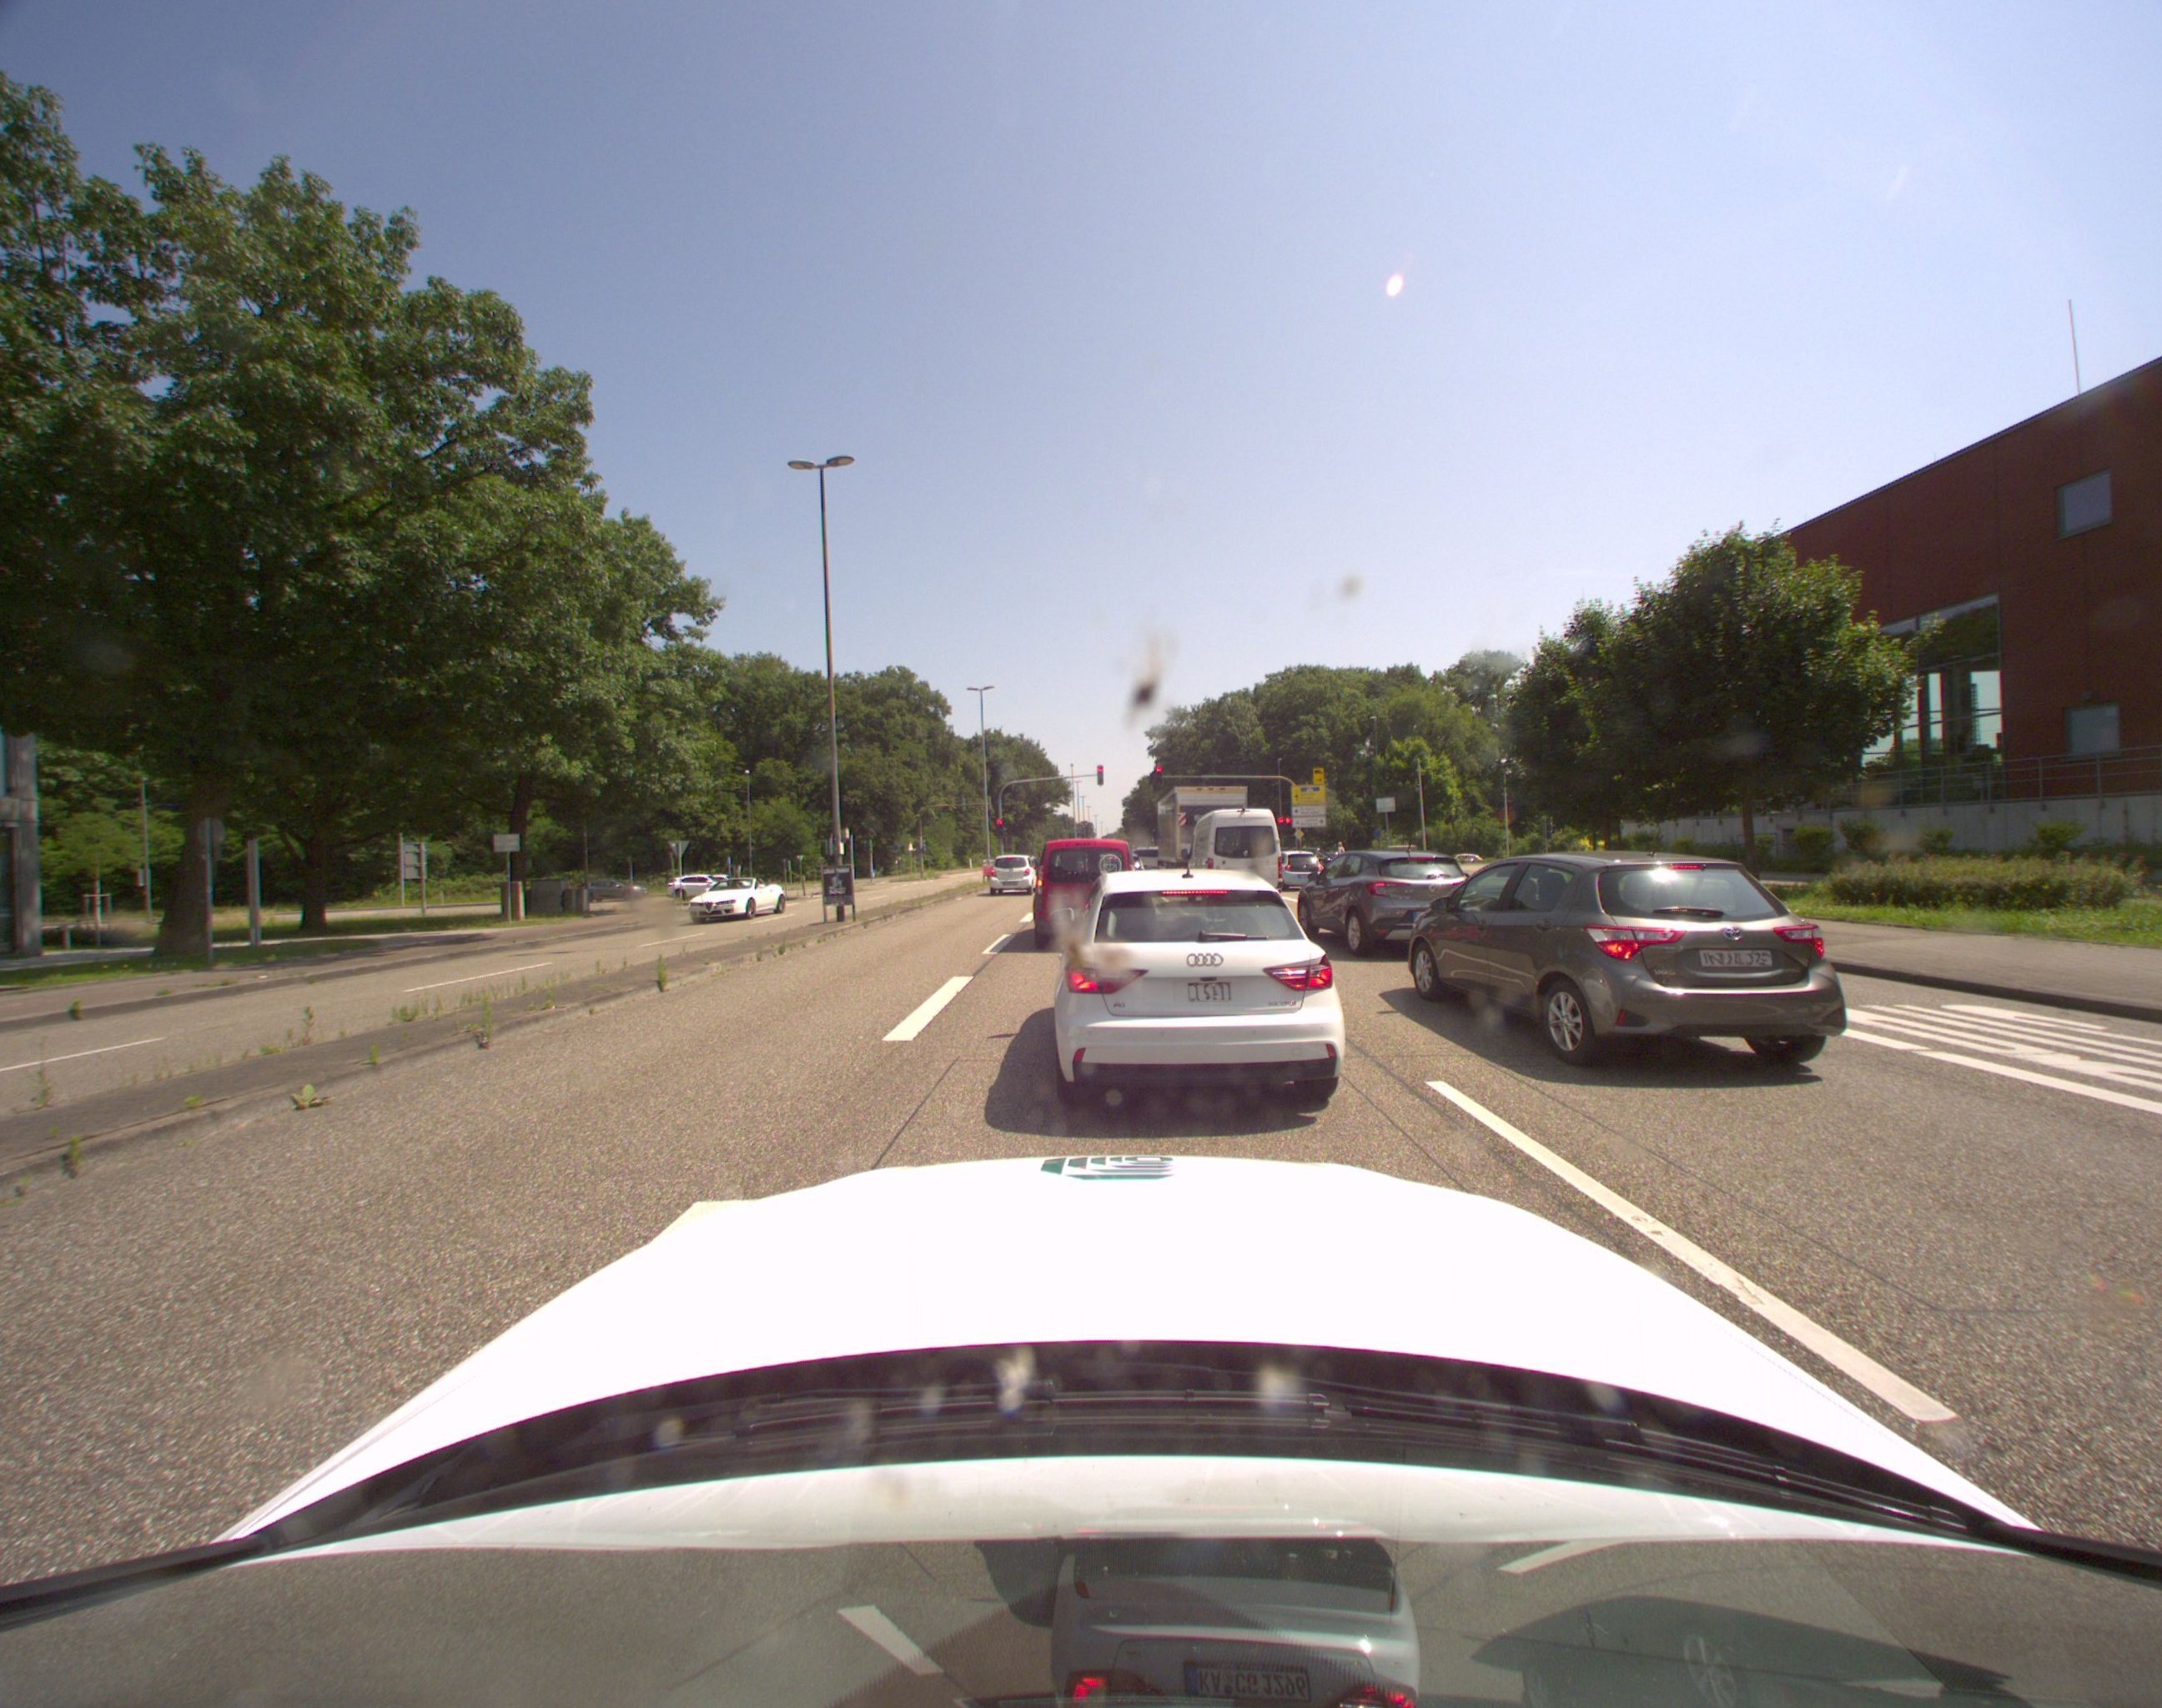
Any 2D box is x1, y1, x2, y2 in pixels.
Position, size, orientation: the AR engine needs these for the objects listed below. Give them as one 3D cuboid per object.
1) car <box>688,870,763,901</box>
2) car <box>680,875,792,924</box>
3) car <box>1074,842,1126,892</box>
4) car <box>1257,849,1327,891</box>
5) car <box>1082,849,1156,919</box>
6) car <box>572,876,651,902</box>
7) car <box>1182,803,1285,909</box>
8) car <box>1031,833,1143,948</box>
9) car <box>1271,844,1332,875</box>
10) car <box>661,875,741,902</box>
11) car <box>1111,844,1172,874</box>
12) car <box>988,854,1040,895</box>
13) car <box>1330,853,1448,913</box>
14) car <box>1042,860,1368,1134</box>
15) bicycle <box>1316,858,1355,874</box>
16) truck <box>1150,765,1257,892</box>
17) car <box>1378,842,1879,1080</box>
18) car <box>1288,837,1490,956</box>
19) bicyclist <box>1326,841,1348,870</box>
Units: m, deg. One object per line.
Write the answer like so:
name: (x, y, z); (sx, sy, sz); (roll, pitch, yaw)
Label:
car: (-24.945, 2.171, 57.255); (4.367, 1.681, 1.806); (-6, 0, -7)
car: (-11.252, 1.431, 26.881); (1.712, 1.262, 4.302); (-4, 0, 1)
car: (0.642, 0.424, 29.023); (1.706, 1.631, 4.091); (-1, 0, 0)
car: (8.388, 0.593, 32.692); (1.706, 1.546, 4.091); (-1, 0, 0)
car: (0.908, 0.705, 21.235); (1.706, 1.631, 4.091); (-1, 0, 0)
car: (-32.569, 2.416, 56.618); (4.370, 1.681, 1.804); (0, -1, -10)
car: (4.172, 0.051, 23.060); (2.024, 2.644, 4.845); (-1, 0, 1)
car: (0.102, 0.563, 14.724); (1.706, 1.748, 4.091); (-1, 0, 0)
car: (15.722, 0.365, 58.318); (3.964, 2.013, 2.005); (-2, 0, 8)
car: (-24.857, 2.265, 53.431); (4.366, 1.681, 1.806); (0, -1, -7)
car: (4.478, 0.381, 60.592); (3.948, 2.013, 2.013); (-2, 0, 37)
car: (-2.602, 0.772, 32.351); (1.706, 1.493, 4.091); (-1, 0, 0)
car: (7.835, 0.682, 21.104); (1.631, 1.371, 4.147); (0, 0, 2)
car: (0.666, 0.770, 6.365); (1.706, 1.386, 4.091); (-1, 0, 0)
bicycle: (13.111, 0.624, 41.991); (0.604, 0.766, 1.804); (-2, 0, -45)
truck: (4.781, -0.906, 34.435); (3.077, 4.434, 11.584); (-1, 0, 2)
car: (4.245, 0.685, 7.243); (1.706, 1.478, 4.091); (1, 0, 0)
car: (4.736, 0.576, 13.186); (1.706, 1.593, 4.091); (-1, 0, 0)
bicyclist: (13.164, 0.069, 41.922); (0.603, 1.439, 0.819); (-2, 0, -44)
